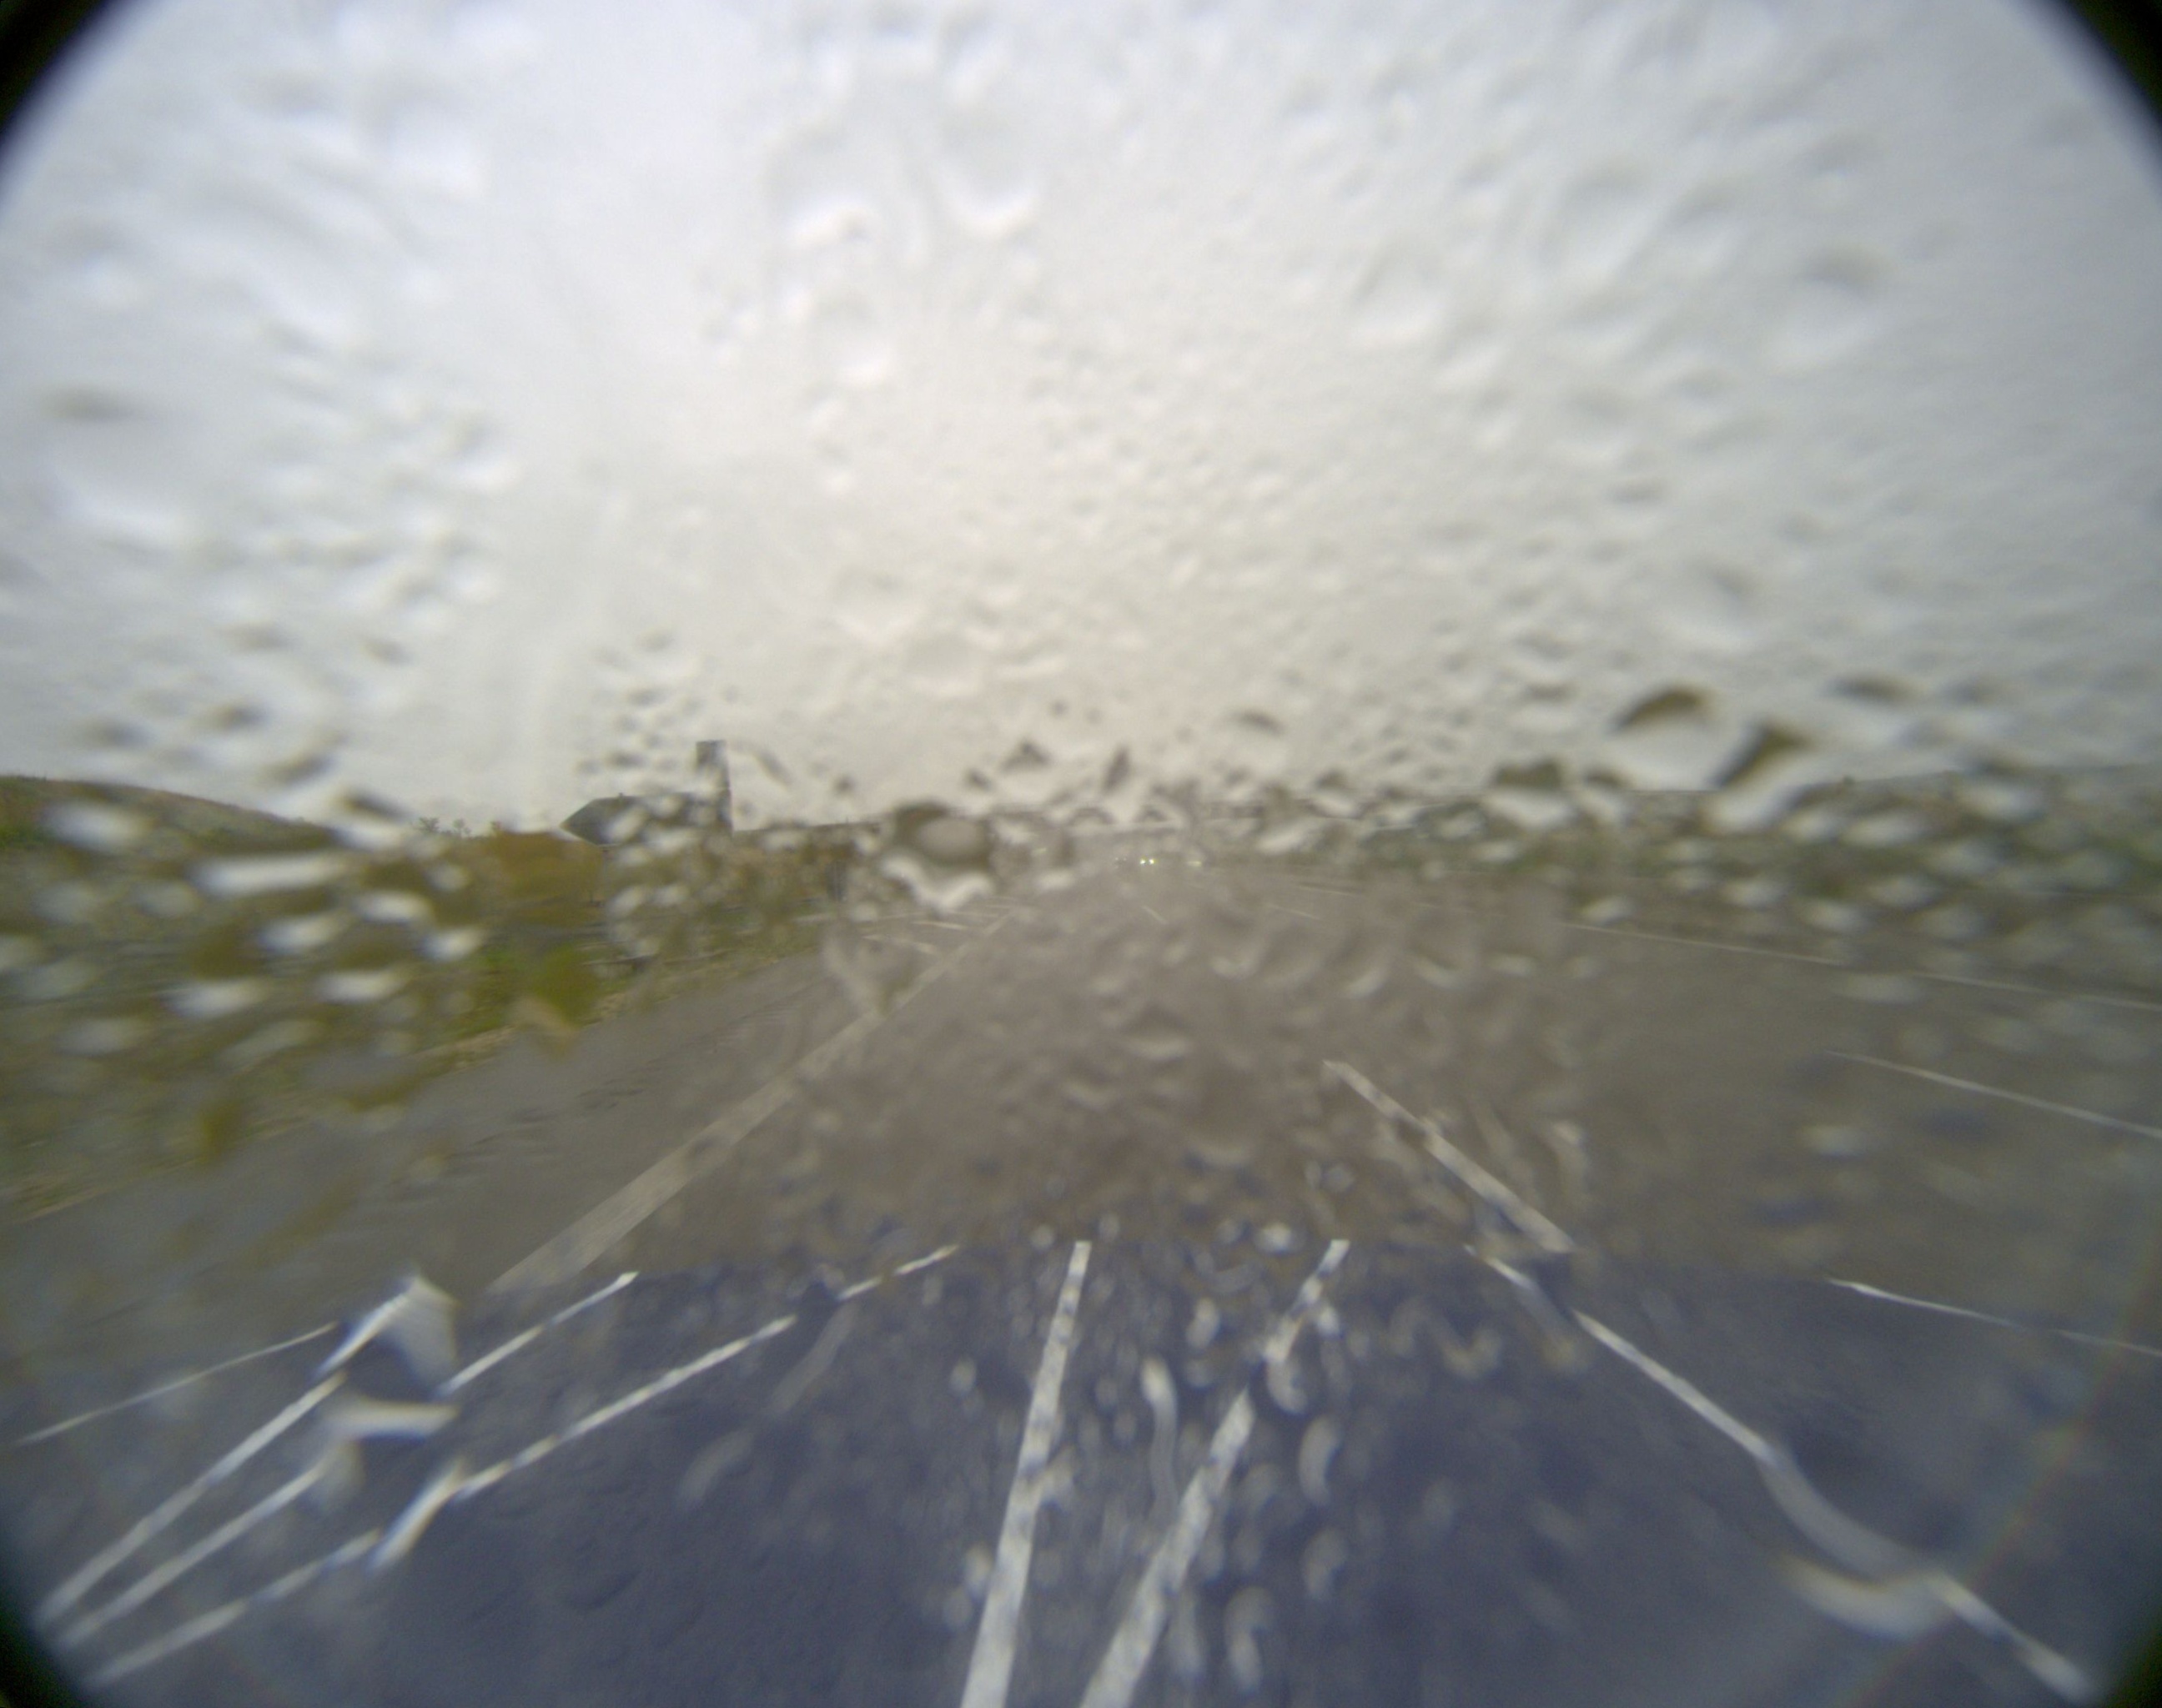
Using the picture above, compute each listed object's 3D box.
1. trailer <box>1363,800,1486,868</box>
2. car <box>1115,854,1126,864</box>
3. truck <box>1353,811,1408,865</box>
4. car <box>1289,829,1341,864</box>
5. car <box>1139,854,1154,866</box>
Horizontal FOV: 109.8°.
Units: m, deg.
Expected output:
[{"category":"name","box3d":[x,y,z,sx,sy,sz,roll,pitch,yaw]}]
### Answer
[{"category":"trailer","box3d":[23.218,-1.187,52.558,2.229,3.973,14.208,-2,0,1]},{"category":"car","box3d":[6.542,0.763,126.409,1.701,1.543,3.733,-2,1,1]},{"category":"truck","box3d":[23.358,-1.160,59.399,2.219,3.960,5.185,-2,0,1]},{"category":"car","box3d":[19.956,-0.635,65.049,2.503,2.690,6.206,-2,0,1]},{"category":"car","box3d":[8.973,0.769,104.360,1.701,1.543,3.733,-2,1,1]}]
